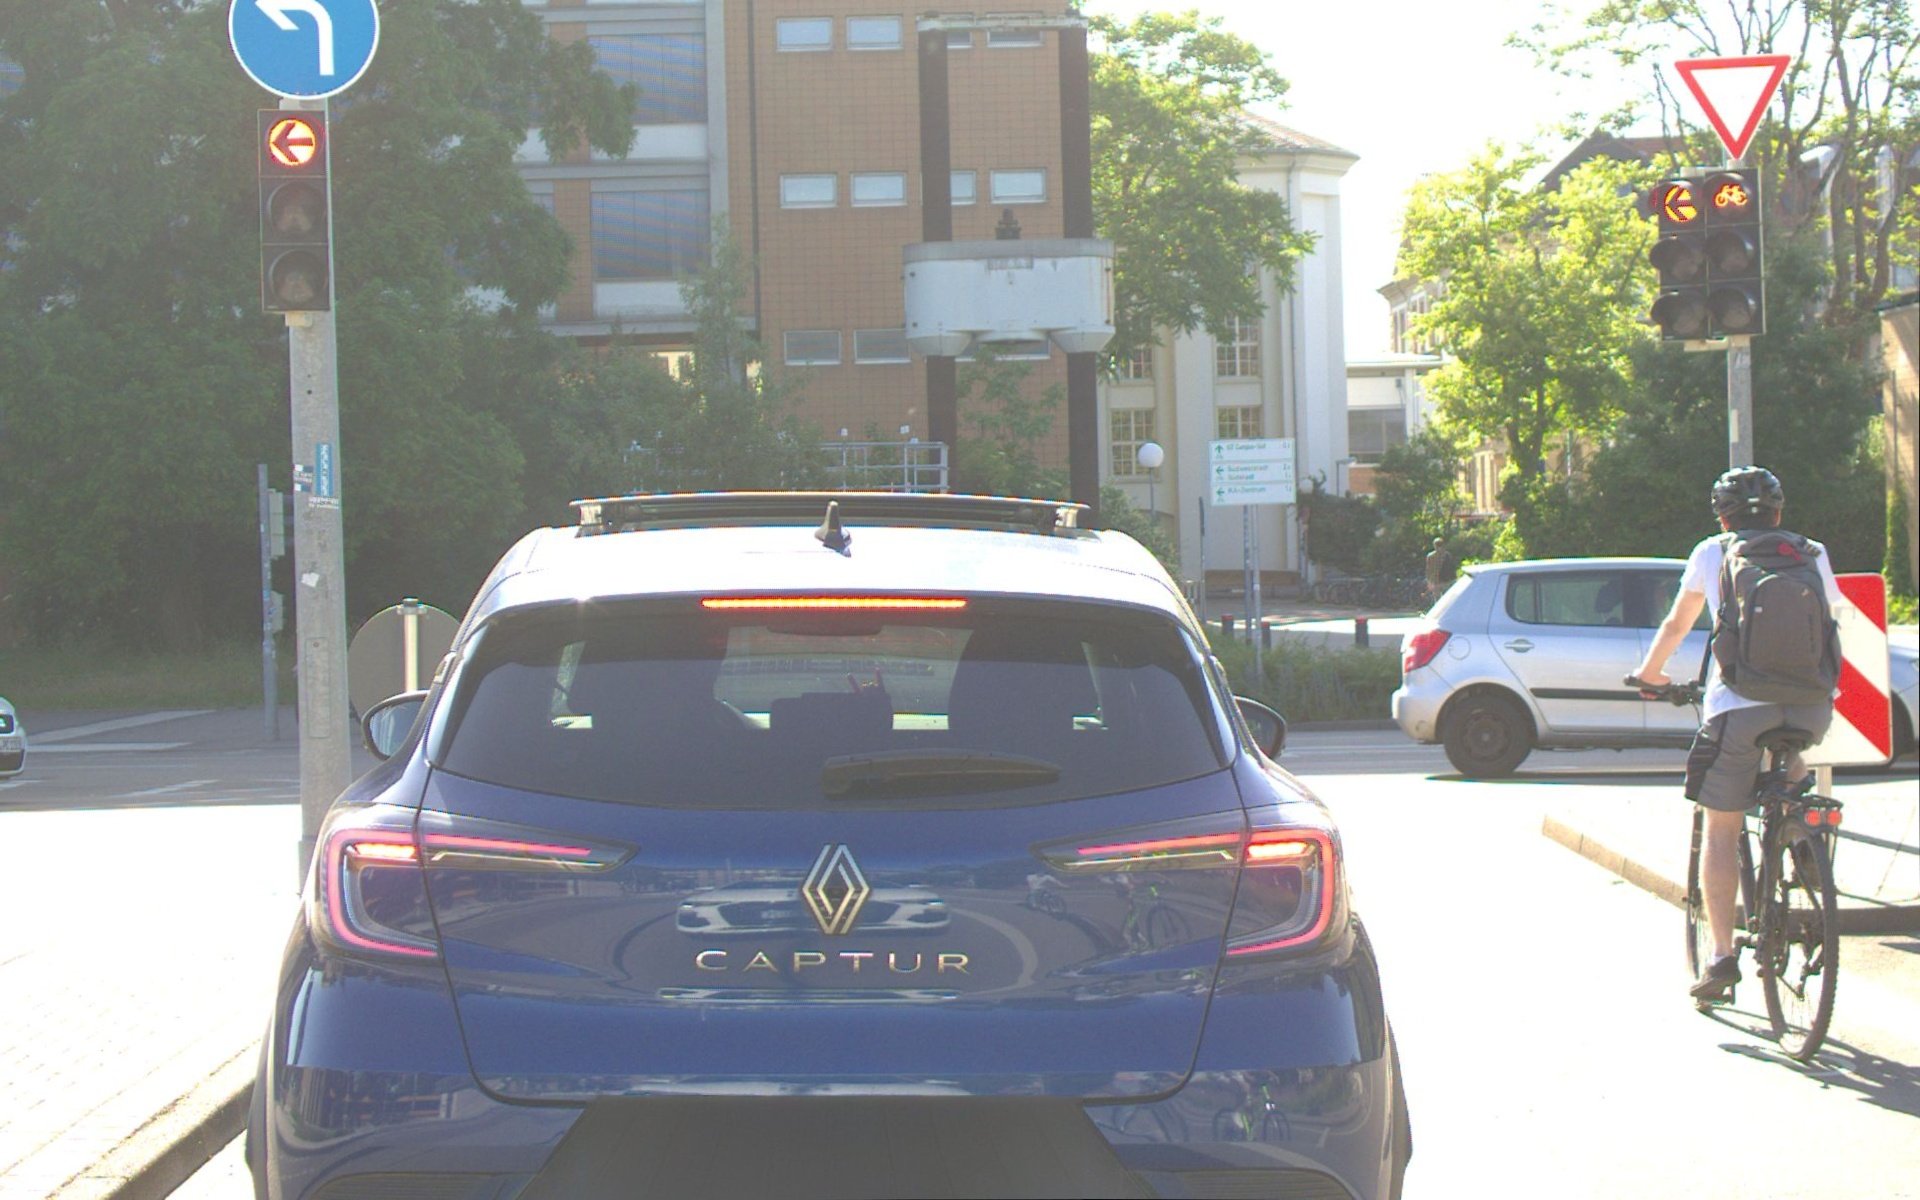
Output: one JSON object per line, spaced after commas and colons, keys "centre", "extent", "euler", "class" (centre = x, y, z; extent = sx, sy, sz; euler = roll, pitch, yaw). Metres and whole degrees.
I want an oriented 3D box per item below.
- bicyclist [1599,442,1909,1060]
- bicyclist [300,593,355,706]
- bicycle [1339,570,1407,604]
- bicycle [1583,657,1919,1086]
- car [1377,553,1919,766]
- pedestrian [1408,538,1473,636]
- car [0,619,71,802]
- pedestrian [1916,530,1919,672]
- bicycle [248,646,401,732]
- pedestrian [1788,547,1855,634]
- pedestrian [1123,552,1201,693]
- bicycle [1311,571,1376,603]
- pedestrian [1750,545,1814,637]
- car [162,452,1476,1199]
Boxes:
{"centre": [2.383, 0.435, 10.408], "extent": [0.676, 1.779, 0.940], "euler": [1, 0, -2], "class": "bicyclist"}
{"centre": [-8.064, 0.631, 43.828], "extent": [0.636, 1.407, 0.649], "euler": [-2, -2, -10], "class": "bicyclist"}
{"centre": [11.401, -0.351, 94.843], "extent": [1.771, 0.895, 0.765], "euler": [-1, 1, 0], "class": "bicycle"}
{"centre": [2.404, 0.769, 10.462], "extent": [0.615, 1.134, 1.826], "euler": [0, 1, -2], "class": "bicycle"}
{"centre": [4.909, 0.421, 23.773], "extent": [3.846, 1.398, 1.891], "euler": [0, -2, 13], "class": "car"}
{"centre": [9.992, -0.281, 71.507], "extent": [1.156, 2.007, 1.164], "euler": [-1, 1, 0], "class": "pedestrian"}
{"centre": [-9.195, 0.884, 26.808], "extent": [3.989, 1.369, 1.759], "euler": [-1, 1, 12], "class": "car"}
{"centre": [13.032, 0.005, 44.263], "extent": [1.298, 1.849, 0.965], "euler": [-1, 1, 11], "class": "pedestrian"}
{"centre": [-8.096, 1.135, 43.808], "extent": [1.862, 1.004, 0.701], "euler": [-2, -2, -10], "class": "bicycle"}
{"centre": [16.257, -0.182, 64.908], "extent": [0.936, 1.607, 1.176], "euler": [-1, 1, 0], "class": "pedestrian"}
{"centre": [2.697, 0.292, 45.807], "extent": [0.932, 1.849, 0.807], "euler": [-1, 1, 9], "class": "pedestrian"}
{"centre": [11.062, -0.381, 99.207], "extent": [1.771, 0.890, 0.765], "euler": [-1, 1, 0], "class": "bicycle"}
{"centre": [15.684, -0.179, 65.616], "extent": [0.953, 1.735, 0.984], "euler": [-1, 1, 0], "class": "pedestrian"}
{"centre": [-0.245, 0.593, 6.645], "extent": [1.794, 1.649, 3.853], "euler": [0, 1, -2], "class": "car"}
